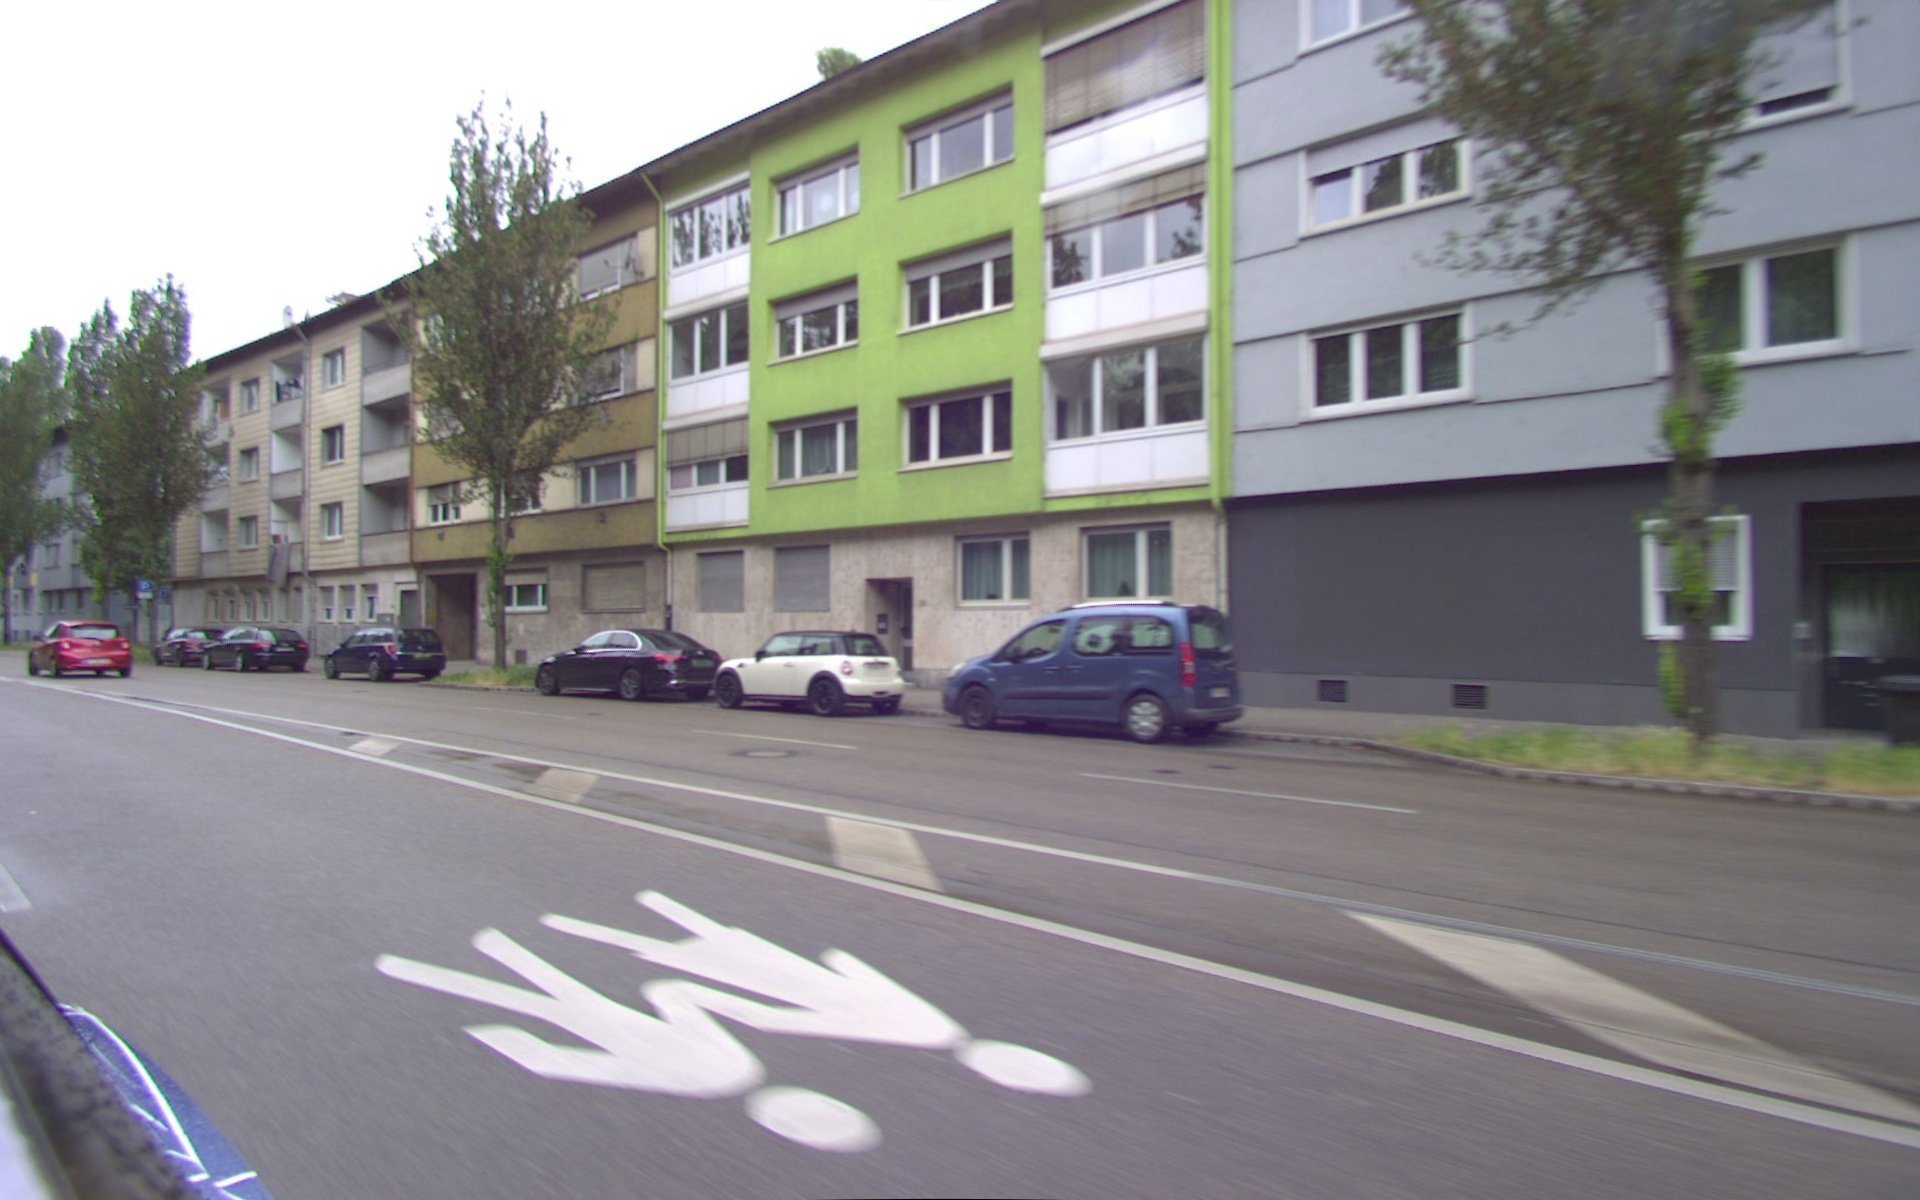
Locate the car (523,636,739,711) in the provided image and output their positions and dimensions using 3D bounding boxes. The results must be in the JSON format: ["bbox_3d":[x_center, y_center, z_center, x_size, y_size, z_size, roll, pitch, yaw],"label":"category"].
[{"bbox_3d":[-6.830,1.450,20.812,4.670,1.383,1.801,-2,-4,36],"label":"car"}]

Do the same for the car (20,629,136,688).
[{"bbox_3d":[-23.994,1.541,27.499,3.675,1.489,1.690,-1,-3,38],"label":"car"}]

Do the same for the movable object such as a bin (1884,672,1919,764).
[{"bbox_3d":[8.923,1.079,9.277,0.609,0.823,0.465,-2,-3,38],"label":"movable object such as a bin"}]

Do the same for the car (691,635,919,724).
[{"bbox_3d":[-2.791,1.336,17.810,3.994,1.386,1.664,-1,-4,38],"label":"car"}]

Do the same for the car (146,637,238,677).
[{"bbox_3d":[-28.085,2.047,36.965,3.981,1.397,1.611,-2,-3,37],"label":"car"}]

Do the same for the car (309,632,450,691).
[{"bbox_3d":[-16.167,1.677,28.119,4.506,1.500,1.702,-2,-4,37],"label":"car"}]

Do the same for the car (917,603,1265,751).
[{"bbox_3d":[1.733,1.000,14.317,4.595,1.780,1.872,-1,-3,39],"label":"car"}]

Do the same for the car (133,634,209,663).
[{"bbox_3d":[-44.367,2.704,57.002,1.685,1.505,4.009,2,-2,-11],"label":"car"}]

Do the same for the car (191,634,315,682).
[{"bbox_3d":[-23.351,1.892,33.375,4.779,1.500,1.801,-2,-4,35],"label":"car"}]
